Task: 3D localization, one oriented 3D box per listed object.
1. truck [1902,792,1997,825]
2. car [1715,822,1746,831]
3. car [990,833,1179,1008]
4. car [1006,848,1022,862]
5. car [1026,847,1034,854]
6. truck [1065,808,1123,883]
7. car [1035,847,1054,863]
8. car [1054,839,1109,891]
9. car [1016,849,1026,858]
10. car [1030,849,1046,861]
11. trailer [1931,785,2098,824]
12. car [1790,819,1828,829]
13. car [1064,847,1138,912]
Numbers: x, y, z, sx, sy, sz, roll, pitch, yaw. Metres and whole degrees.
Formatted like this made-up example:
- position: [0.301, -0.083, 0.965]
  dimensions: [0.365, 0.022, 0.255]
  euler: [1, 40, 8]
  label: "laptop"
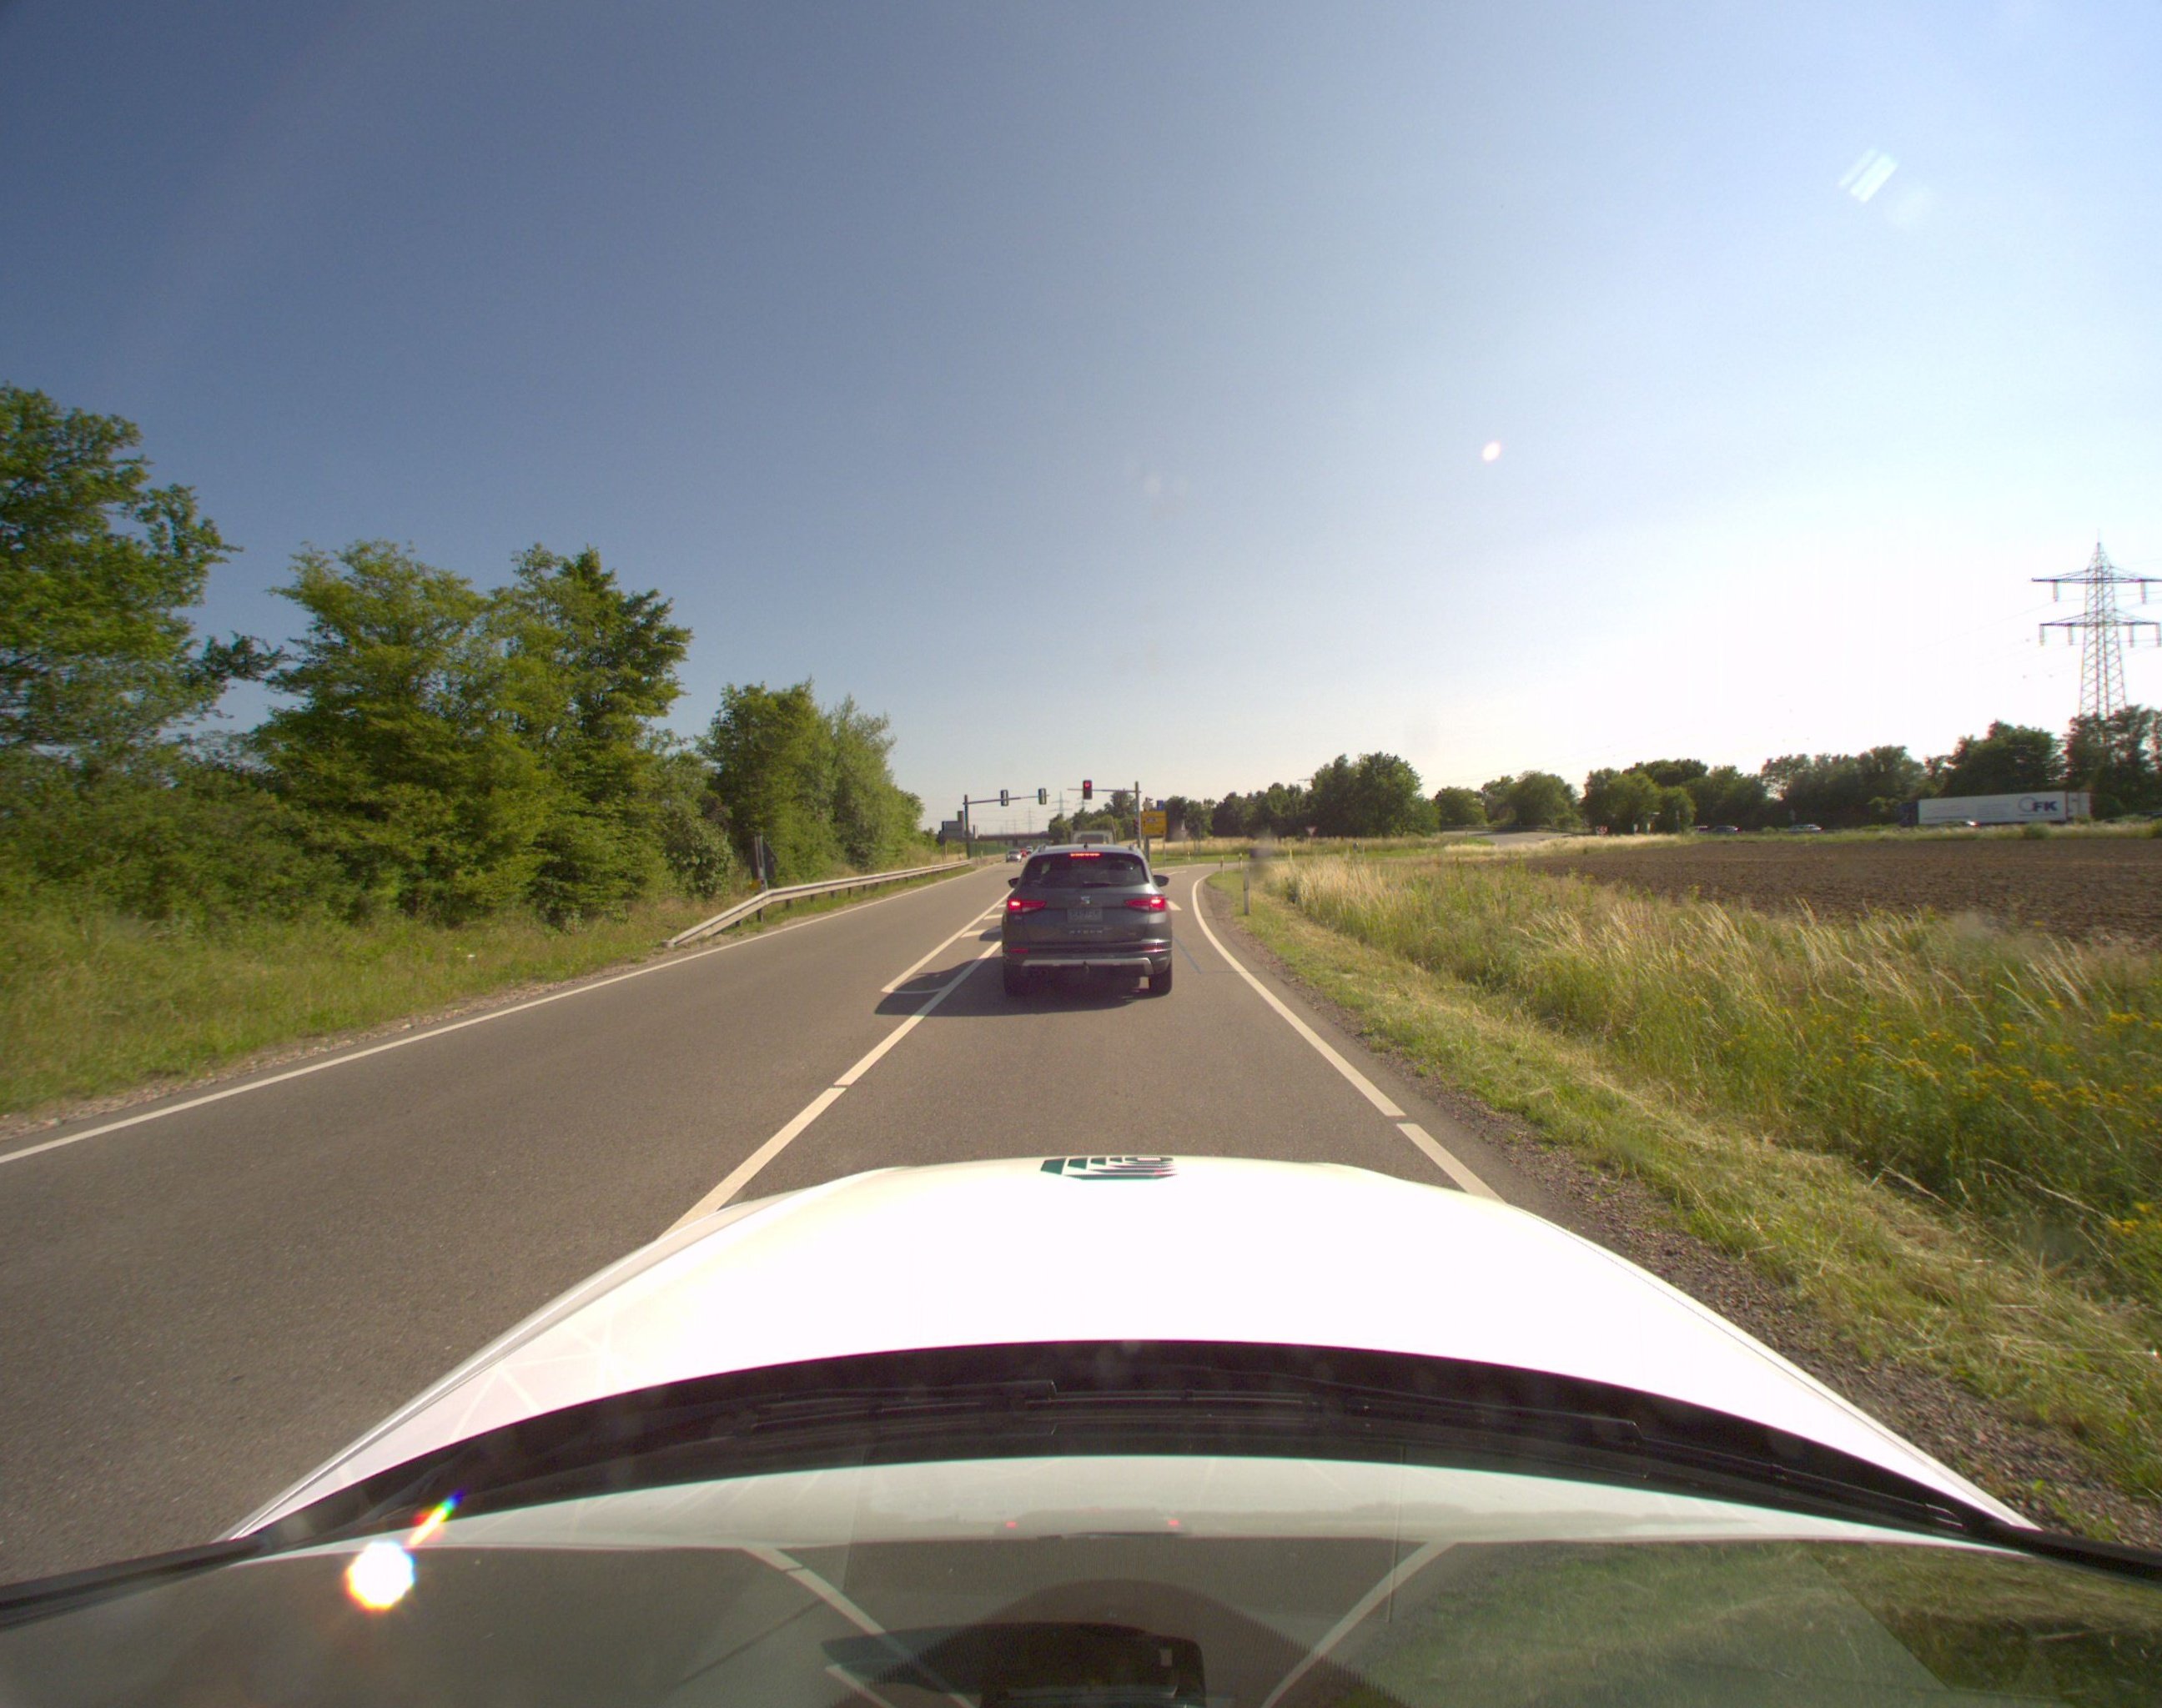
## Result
- position: [98.897, -5.155, 92.907]
  dimensions: [3.275, 3.267, 6.975]
  euler: [-3, 0, -2]
  label: "truck"
- position: [90.656, -3.810, 113.697]
  dimensions: [1.391, 1.151, 3.578]
  euler: [-1, 1, -3]
  label: "car"
- position: [0.022, 0.614, 9.886]
  dimensions: [1.780, 1.629, 3.999]
  euler: [-2, 1, -1]
  label: "car"
- position: [-7.847, 0.100, 95.679]
  dimensions: [1.821, 1.431, 3.994]
  euler: [-2, 1, -4]
  label: "car"
- position: [-15.313, -1.010, 243.427]
  dimensions: [1.961, 1.952, 4.987]
  euler: [-2, 1, -6]
  label: "car"
- position: [0.569, -0.357, 36.714]
  dimensions: [2.329, 3.066, 5.810]
  euler: [-1, 0, 1]
  label: "truck"
- position: [-3.645, 0.092, 80.734]
  dimensions: [1.813, 1.540, 3.994]
  euler: [-2, 1, -4]
  label: "car"
- position: [-0.012, 0.335, 29.037]
  dimensions: [1.780, 1.675, 3.999]
  euler: [-2, 1, -1]
  label: "car"
- position: [-11.059, -0.127, 149.696]
  dimensions: [1.758, 1.431, 3.994]
  euler: [-2, 1, -4]
  label: "car"
- position: [-4.926, 0.101, 93.153]
  dimensions: [1.681, 1.380, 3.529]
  euler: [-1, 1, -4]
  label: "car"
- position: [99.040, -5.129, 86.935]
  dimensions: [3.275, 3.267, 12.449]
  euler: [-3, 0, -1]
  label: "trailer"
- position: [91.012, -3.726, 101.868]
  dimensions: [1.391, 1.151, 3.578]
  euler: [-1, 1, -3]
  label: "car"
- position: [0.483, 0.617, 22.224]
  dimensions: [1.780, 1.543, 3.999]
  euler: [-2, 1, -1]
  label: "car"
